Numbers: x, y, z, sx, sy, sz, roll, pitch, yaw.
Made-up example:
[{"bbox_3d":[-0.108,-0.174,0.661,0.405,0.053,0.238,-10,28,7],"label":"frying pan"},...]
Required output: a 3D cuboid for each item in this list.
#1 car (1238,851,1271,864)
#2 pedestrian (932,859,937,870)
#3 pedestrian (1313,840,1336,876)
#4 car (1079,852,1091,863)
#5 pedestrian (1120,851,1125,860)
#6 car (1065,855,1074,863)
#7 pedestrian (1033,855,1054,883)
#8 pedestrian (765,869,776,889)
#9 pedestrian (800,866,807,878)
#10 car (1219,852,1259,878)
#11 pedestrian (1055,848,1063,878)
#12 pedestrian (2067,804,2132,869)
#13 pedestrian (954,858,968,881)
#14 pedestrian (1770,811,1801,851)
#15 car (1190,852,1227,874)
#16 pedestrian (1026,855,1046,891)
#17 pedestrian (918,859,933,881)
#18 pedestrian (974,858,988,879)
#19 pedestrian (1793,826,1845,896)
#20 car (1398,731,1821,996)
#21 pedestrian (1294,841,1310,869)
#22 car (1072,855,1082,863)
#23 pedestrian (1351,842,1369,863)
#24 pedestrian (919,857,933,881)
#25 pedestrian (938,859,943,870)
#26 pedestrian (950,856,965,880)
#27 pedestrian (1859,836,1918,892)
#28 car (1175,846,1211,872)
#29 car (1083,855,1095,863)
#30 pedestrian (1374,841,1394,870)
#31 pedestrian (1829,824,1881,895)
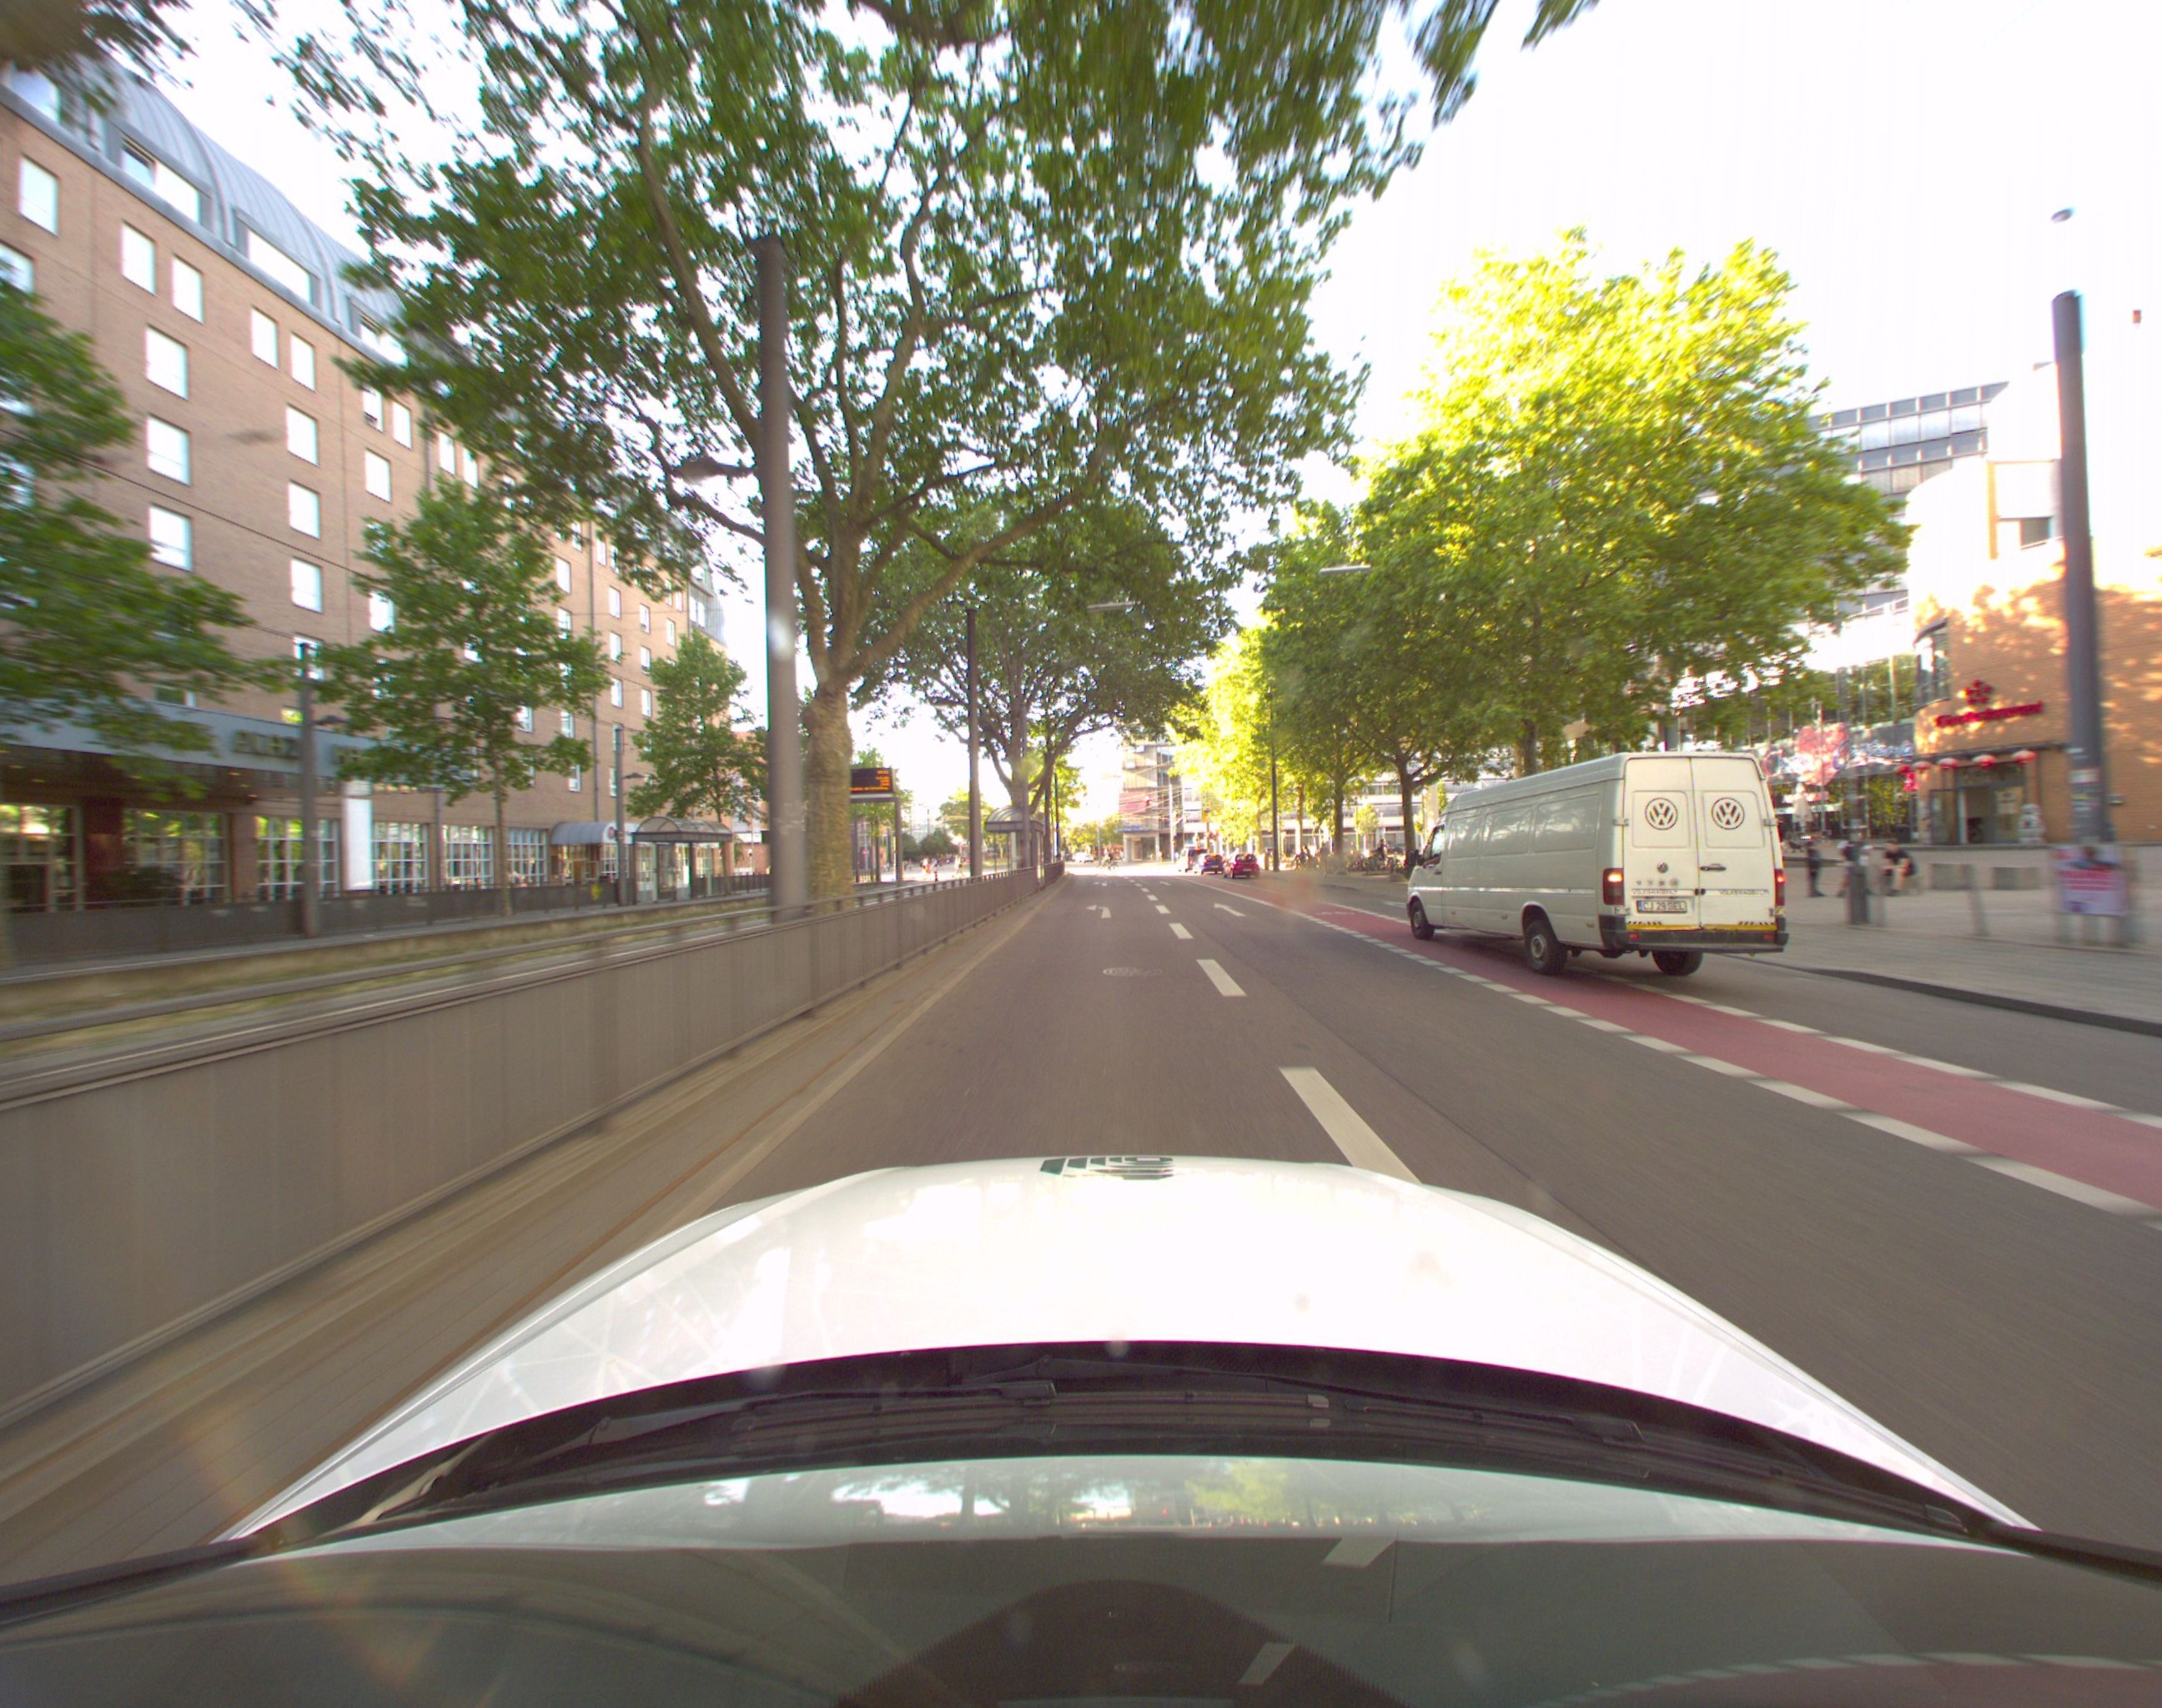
[{"bbox_3d":[23.571,0.425,110.657,4.219,1.602,1.798,-2,0,5],"label":"car"},{"bbox_3d":[-21.740,1.585,120.840,0.538,1.650,0.621,-2,0,-20],"label":"pedestrian"},{"bbox_3d":[12.495,0.201,41.776,0.869,1.786,0.808,-2,0,-1],"label":"pedestrian"},{"bbox_3d":[0.783,0.710,152.432,1.988,1.991,3.997,-2,0,-2],"label":"car"},{"bbox_3d":[7.015,0.266,137.939,0.738,1.465,0.536,-2,0,-4],"label":"pedestrian"},{"bbox_3d":[-2.759,1.112,189.242,1.988,1.662,3.997,-2,0,-2],"label":"car"},{"bbox_3d":[-1.879,0.741,40.705,0.972,1.400,0.665,0,-1,3],"label":"pedestrian"},{"bbox_3d":[-24.891,1.987,65.365,0.588,1.584,0.724,1,-1,-3],"label":"pedestrian"},{"bbox_3d":[-37.200,2.455,109.280,0.538,1.613,0.574,-2,0,29],"label":"pedestrian"},{"bbox_3d":[9.228,0.624,47.830,1.554,1.464,3.619,-1,0,-2],"label":"car"},{"bbox_3d":[-1.381,0.576,51.646,0.508,1.900,0.759,0,-1,-1],"label":"pedestrian"},{"bbox_3d":[23.824,-0.407,19.056,0.708,1.456,0.601,-2,0,1],"label":"pedestrian"},{"bbox_3d":[-9.485,1.230,64.624,1.071,1.806,0.755,-1,-1,-9],"label":"pedestrian"},{"bbox_3d":[33.769,-1.096,39.037,0.857,1.844,0.988,-2,-1,-44],"label":"pedestrian"},{"bbox_3d":[9.057,0.639,58.024,1.761,1.464,4.213,-2,0,-3],"label":"car"},{"bbox_3d":[-1.804,0.755,32.478,0.731,1.387,0.641,0,-1,3],"label":"pedestrian"},{"bbox_3d":[-12.250,1.263,64.227,1.072,1.682,0.755,-1,-1,-9],"label":"pedestrian"},{"bbox_3d":[-8.266,1.211,67.294,1.071,1.715,0.627,-1,-1,-5],"label":"pedestrian"},{"bbox_3d":[16.867,0.157,18.624,0.573,1.543,0.639,-2,0,8],"label":"pedestrian"},{"bbox_3d":[6.723,0.105,11.682,1.986,2.724,6.564,0,0,2],"label":"car"},{"bbox_3d":[14.506,0.050,53.478,0.799,1.786,0.661,-2,0,25],"label":"pedestrian"},{"bbox_3d":[-0.865,1.039,167.496,1.988,1.662,3.997,-2,0,-2],"label":"car"},{"bbox_3d":[24.933,-0.124,72.811,1.207,1.822,1.039,0,-1,-7],"label":"pedestrian"},{"bbox_3d":[-12.349,1.178,64.977,1.073,1.871,0.736,-1,-1,-9],"label":"pedestrian"},{"bbox_3d":[-20.869,1.533,121.190,0.538,1.650,0.621,-2,-1,-20],"label":"pedestrian"},{"bbox_3d":[-9.957,1.101,65.527,1.145,1.894,0.830,-1,-1,-9],"label":"pedestrian"},{"bbox_3d":[18.104,0.217,18.267,0.611,1.221,0.678,-2,0,5],"label":"pedestrian"},{"bbox_3d":[8.842,0.391,64.631,1.988,1.966,5.134,0,0,-1],"label":"car"},{"bbox_3d":[1.426,0.931,145.444,1.988,1.332,3.997,-2,0,-2],"label":"car"},{"bbox_3d":[18.656,0.094,50.126,0.817,1.757,0.768,-2,0,-10],"label":"pedestrian"},{"bbox_3d":[17.010,0.123,17.902,0.512,1.523,0.637,-2,0,8],"label":"pedestrian"}]
